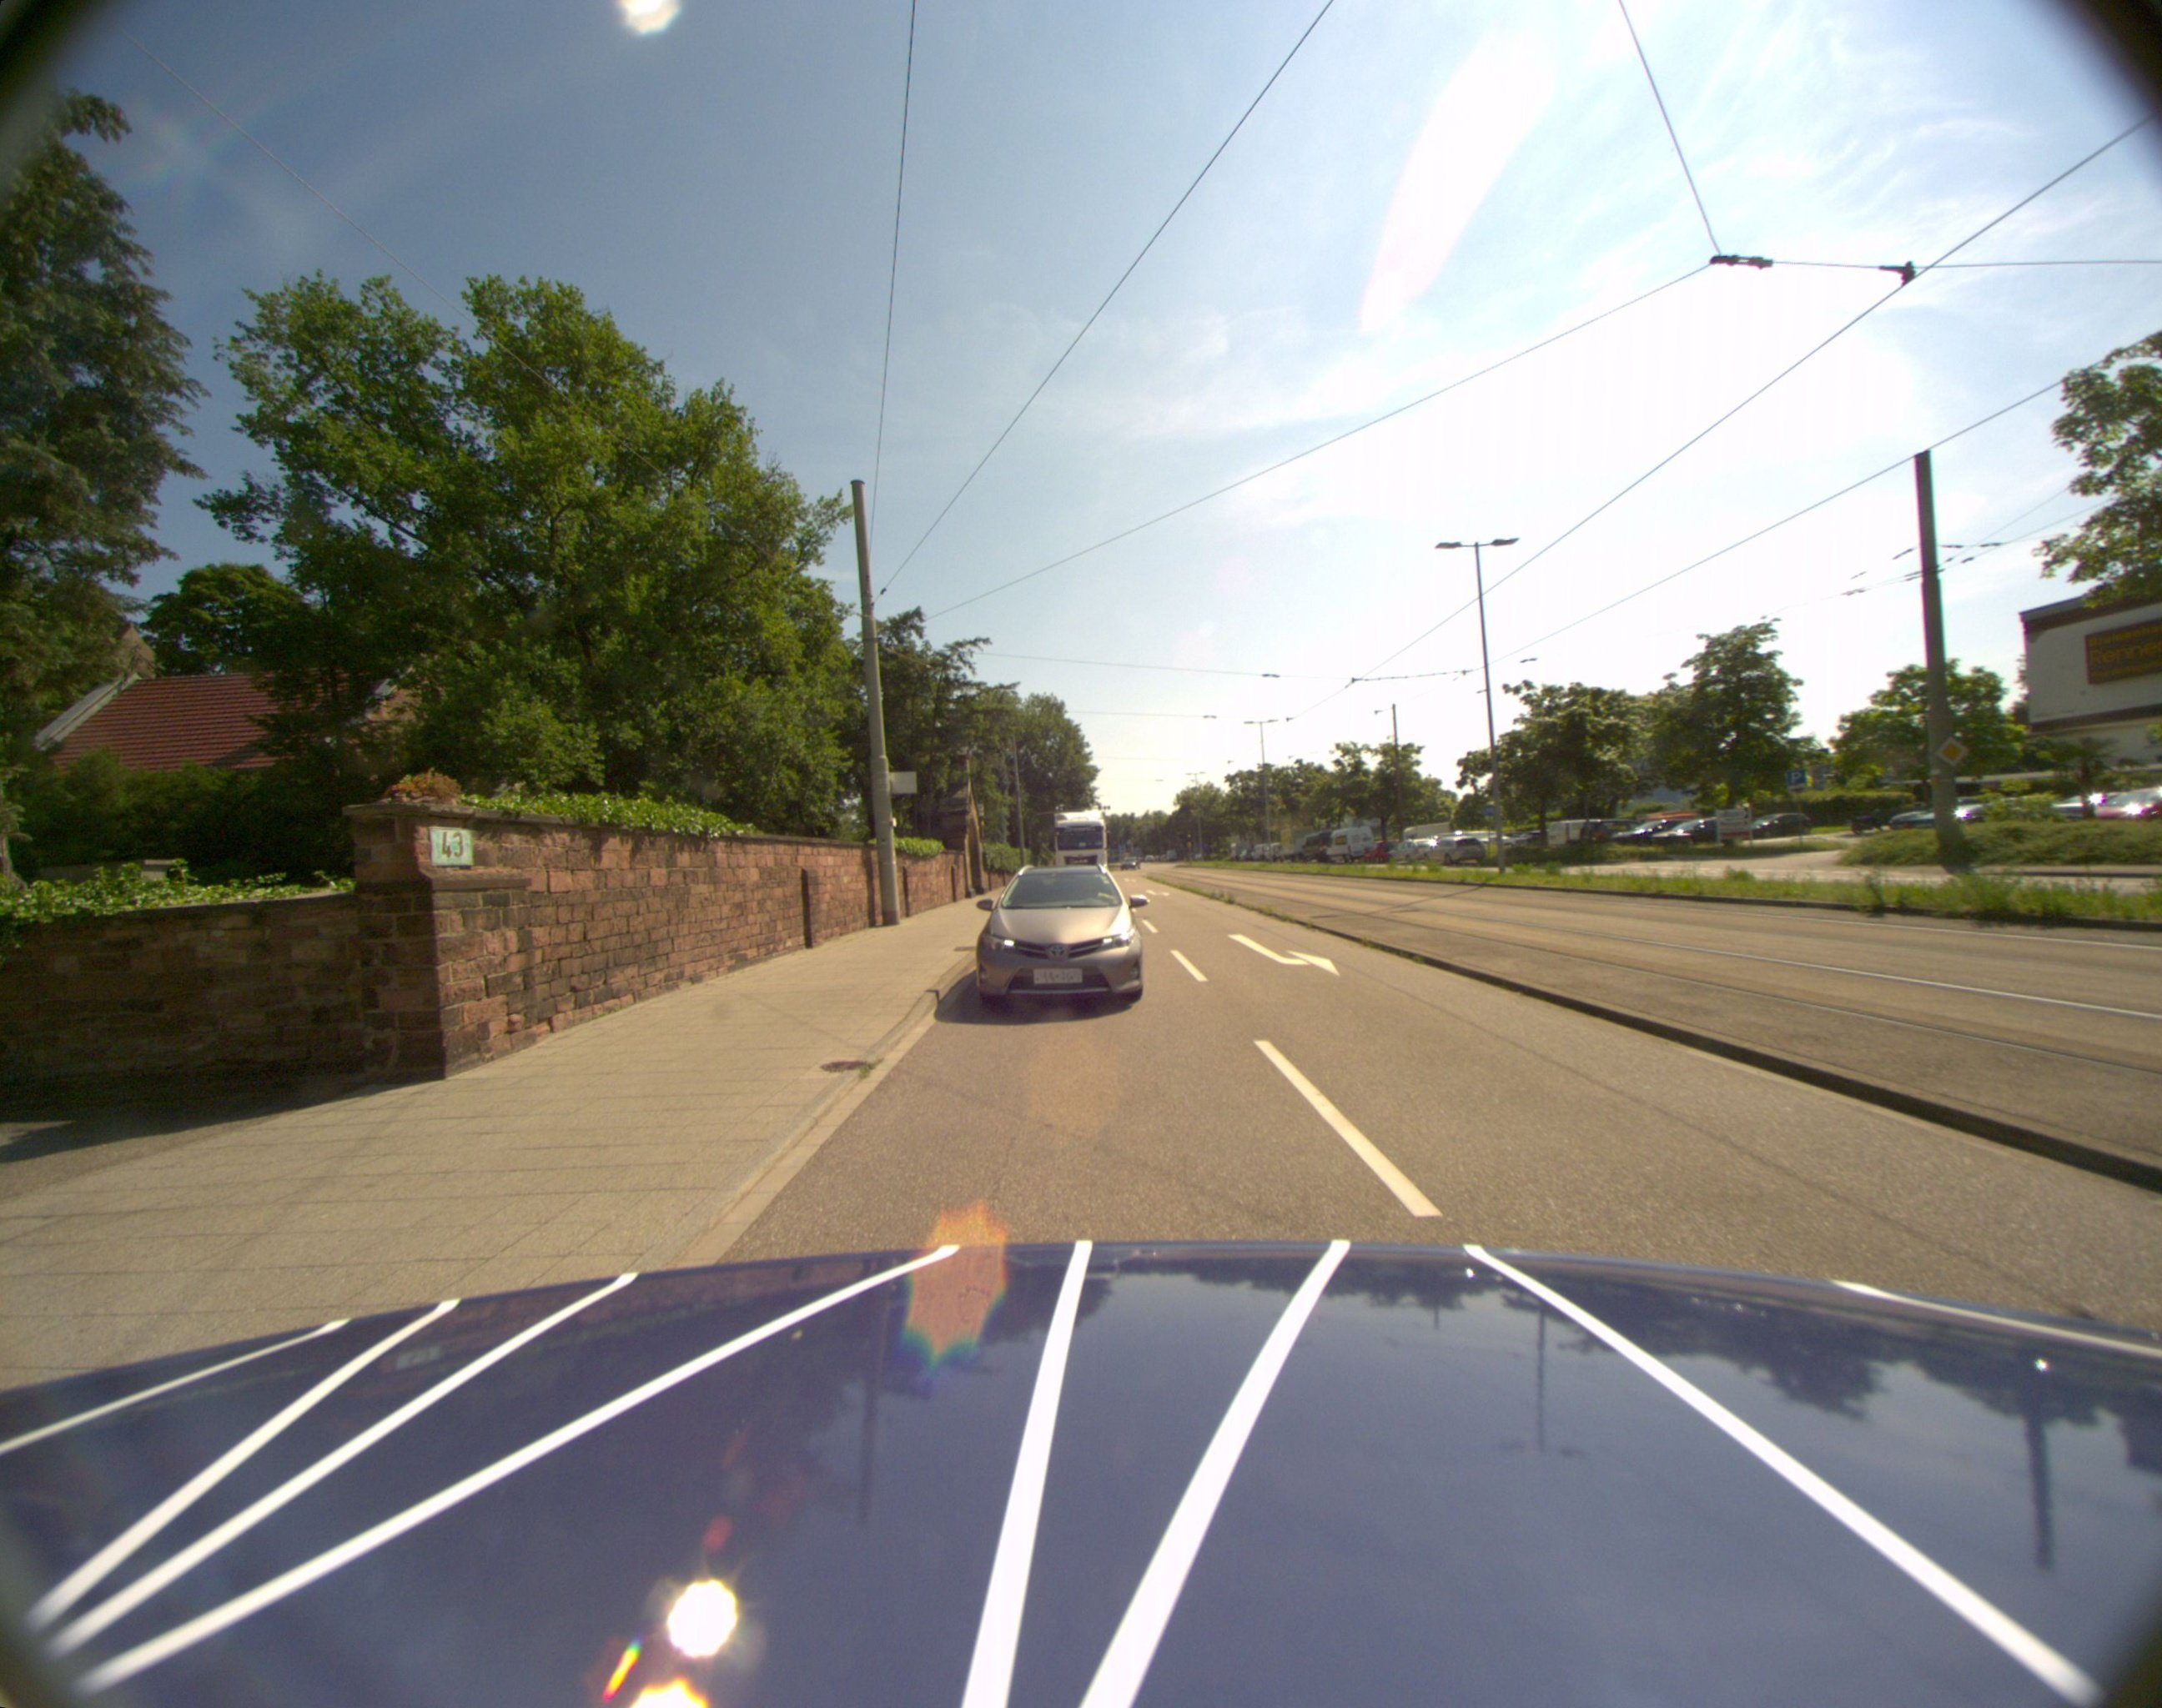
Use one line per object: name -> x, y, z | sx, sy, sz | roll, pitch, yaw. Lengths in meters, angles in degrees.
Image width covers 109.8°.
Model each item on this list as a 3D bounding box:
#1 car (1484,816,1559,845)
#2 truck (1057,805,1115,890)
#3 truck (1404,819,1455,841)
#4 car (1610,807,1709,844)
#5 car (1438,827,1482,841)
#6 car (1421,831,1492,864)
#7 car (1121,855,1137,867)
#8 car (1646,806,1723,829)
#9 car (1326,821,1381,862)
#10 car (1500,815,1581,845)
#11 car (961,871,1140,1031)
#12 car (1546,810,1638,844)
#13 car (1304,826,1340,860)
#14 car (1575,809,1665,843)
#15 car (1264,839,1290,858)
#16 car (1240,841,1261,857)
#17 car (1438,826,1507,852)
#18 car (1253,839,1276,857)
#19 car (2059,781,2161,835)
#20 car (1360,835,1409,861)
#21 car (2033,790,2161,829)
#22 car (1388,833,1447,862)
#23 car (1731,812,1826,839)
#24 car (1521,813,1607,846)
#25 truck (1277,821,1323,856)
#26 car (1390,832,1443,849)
car -> 31.265, -1.648, 53.990 | 4.117, 1.727, 1.990 | -4, 0, -2
truck -> 0.340, -0.338, 40.686 | 2.628, 3.905, 9.286 | -2, 0, 1
truck -> 44.947, -3.122, 98.052 | 5.652, 2.367, 1.990 | -4, 0, -2
car -> 30.512, -1.482, 40.127 | 3.810, 1.625, 1.676 | -4, 0, 3
car -> 43.847, -2.313, 87.949 | 4.253, 1.327, 1.676 | -4, 0, 2
car -> 20.302, -0.349, 41.327 | 1.675, 1.524, 4.257 | -7, 0, 1
car -> 5.561, 0.793, 88.107 | 1.654, 1.374, 4.000 | -2, 0, 1
car -> 44.061, -2.658, 55.500 | 4.253, 1.327, 1.676 | -4, 0, -1
car -> 20.316, -0.889, 56.839 | 2.062, 2.638, 5.203 | -7, 0, 1
car -> 30.612, -1.583, 50.659 | 4.117, 1.727, 1.990 | -4, 0, -2
car -> -0.264, 0.974, 9.247 | 1.654, 1.374, 4.000 | -2, 0, 1
car -> 30.666, -1.587, 45.680 | 4.117, 1.727, 1.990 | -4, 0, -2
car -> 19.950, -0.865, 63.143 | 1.502, 2.609, 4.007 | -7, 0, 1
car -> 30.586, -1.582, 43.214 | 3.810, 1.625, 1.676 | -4, 0, 3
car -> 20.661, -0.566, 80.264 | 1.502, 1.793, 4.633 | -7, 0, 1
car -> 20.759, -0.609, 93.110 | 1.502, 1.775, 3.687 | -7, 0, 0
car -> 31.222, -1.170, 60.890 | 2.594, 1.800, 5.741 | -4, 0, 2
car -> 20.986, -0.622, 86.951 | 1.502, 1.835, 4.059 | -7, 0, 0
car -> 35.187, -1.580, 24.752 | 4.252, 1.595, 1.676 | -4, 0, 3
car -> 20.473, -0.382, 51.364 | 1.675, 1.524, 3.793 | -7, 0, 1
car -> 43.773, -1.905, 32.324 | 4.252, 1.327, 1.676 | -4, 0, 3
car -> 20.512, -0.366, 46.502 | 1.675, 1.524, 4.257 | -7, 0, 1
car -> 43.720, -1.781, 47.692 | 4.252, 1.327, 1.676 | -4, 0, 3
car -> 30.552, -1.521, 48.152 | 4.117, 1.727, 1.990 | -4, 0, -2
truck -> 20.595, -1.388, 71.725 | 2.508, 2.917, 5.903 | -7, 0, 2
car -> 32.400, -1.298, 73.406 | 4.253, 1.327, 1.676 | -4, 0, 2
